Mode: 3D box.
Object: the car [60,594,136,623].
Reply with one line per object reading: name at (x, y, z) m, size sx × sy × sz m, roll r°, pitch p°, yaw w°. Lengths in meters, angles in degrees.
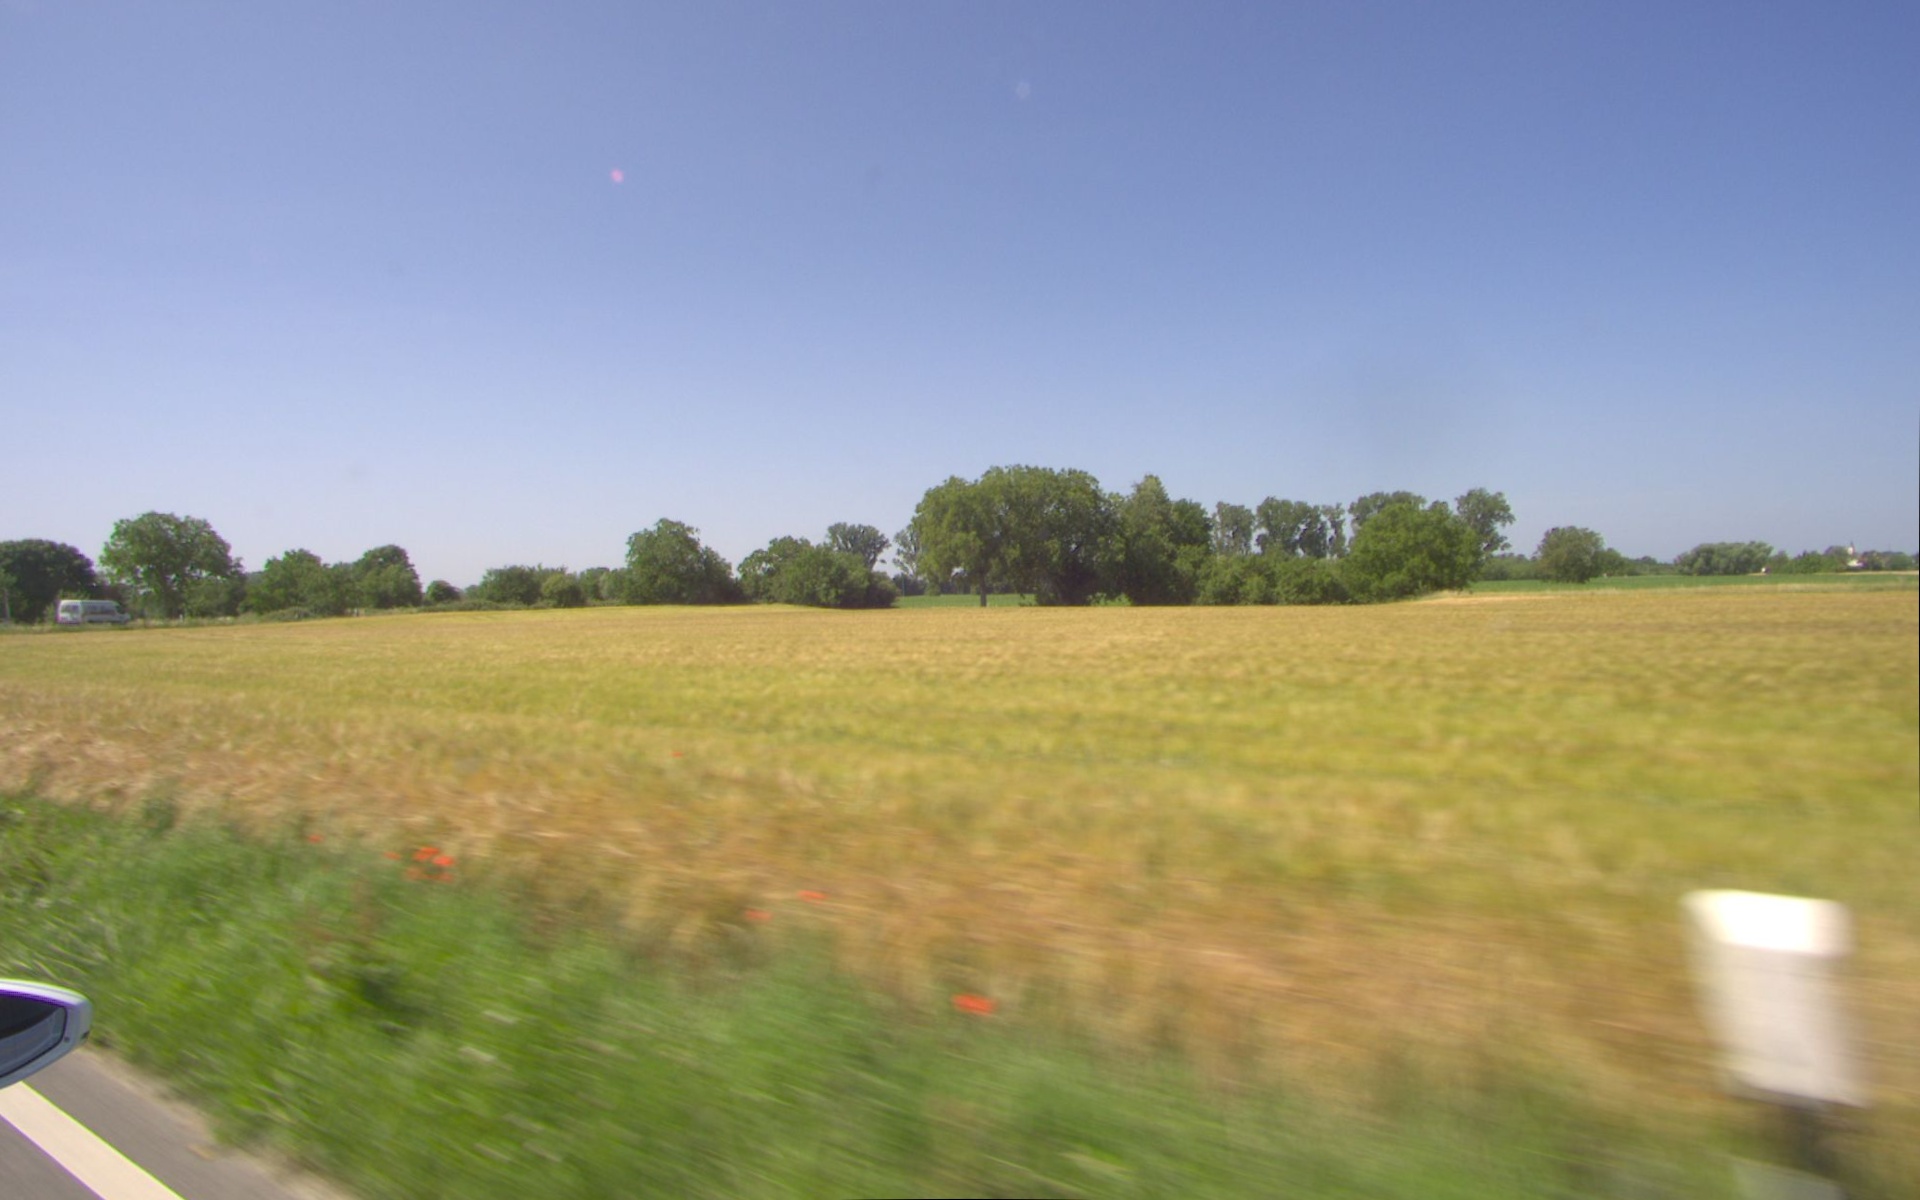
car at (-77.195, 0.742, 89.816) m, size 2.070 × 2.399 × 5.684 m, roll -1°, pitch 1°, yaw -3°
